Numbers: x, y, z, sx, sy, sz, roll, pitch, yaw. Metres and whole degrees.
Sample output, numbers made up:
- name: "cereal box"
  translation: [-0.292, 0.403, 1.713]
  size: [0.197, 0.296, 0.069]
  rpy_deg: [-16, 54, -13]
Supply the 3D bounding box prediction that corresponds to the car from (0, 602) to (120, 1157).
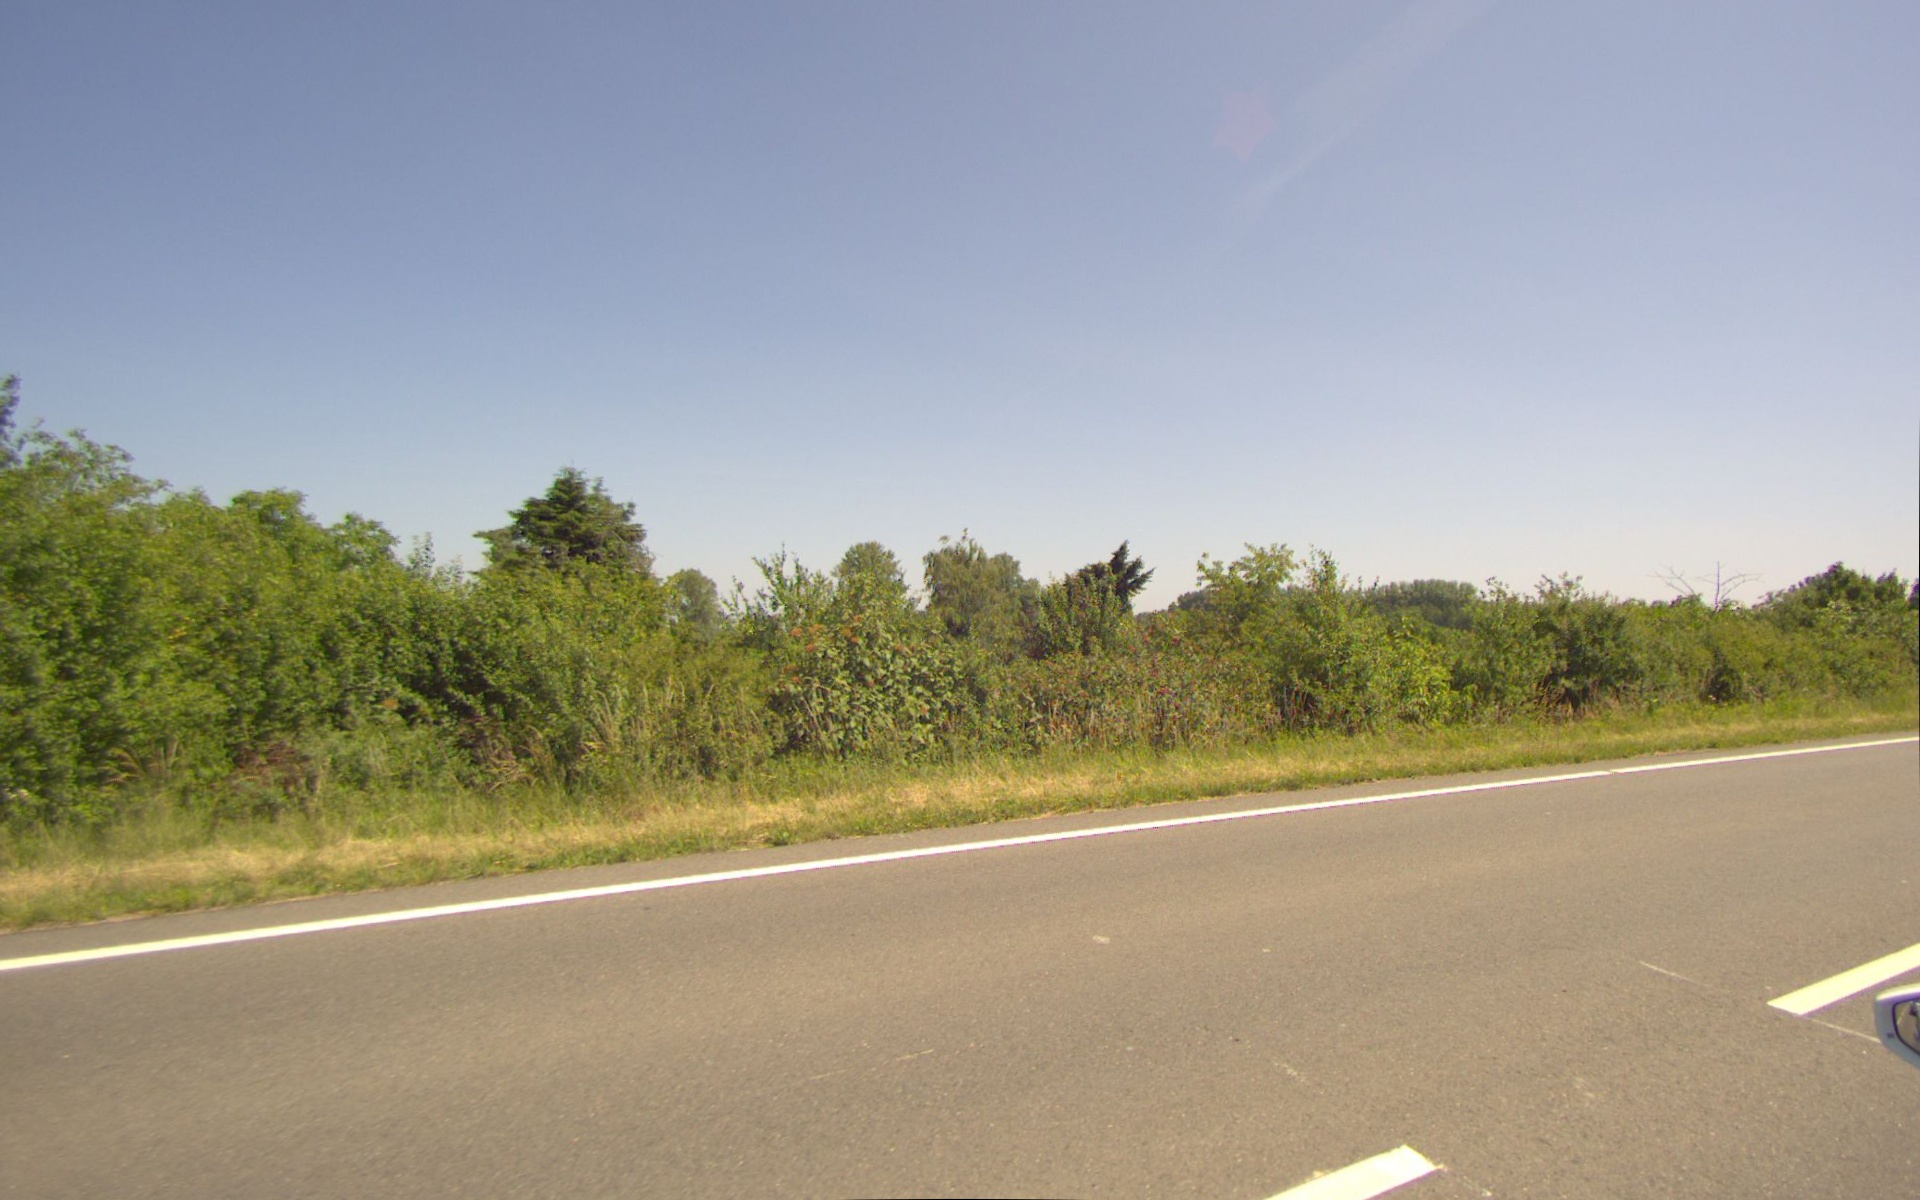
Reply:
- name: "car"
  translation: [-4.195, 0.661, 1.856]
  size: [3.782, 1.381, 1.684]
  rpy_deg: [2, 0, -31]
